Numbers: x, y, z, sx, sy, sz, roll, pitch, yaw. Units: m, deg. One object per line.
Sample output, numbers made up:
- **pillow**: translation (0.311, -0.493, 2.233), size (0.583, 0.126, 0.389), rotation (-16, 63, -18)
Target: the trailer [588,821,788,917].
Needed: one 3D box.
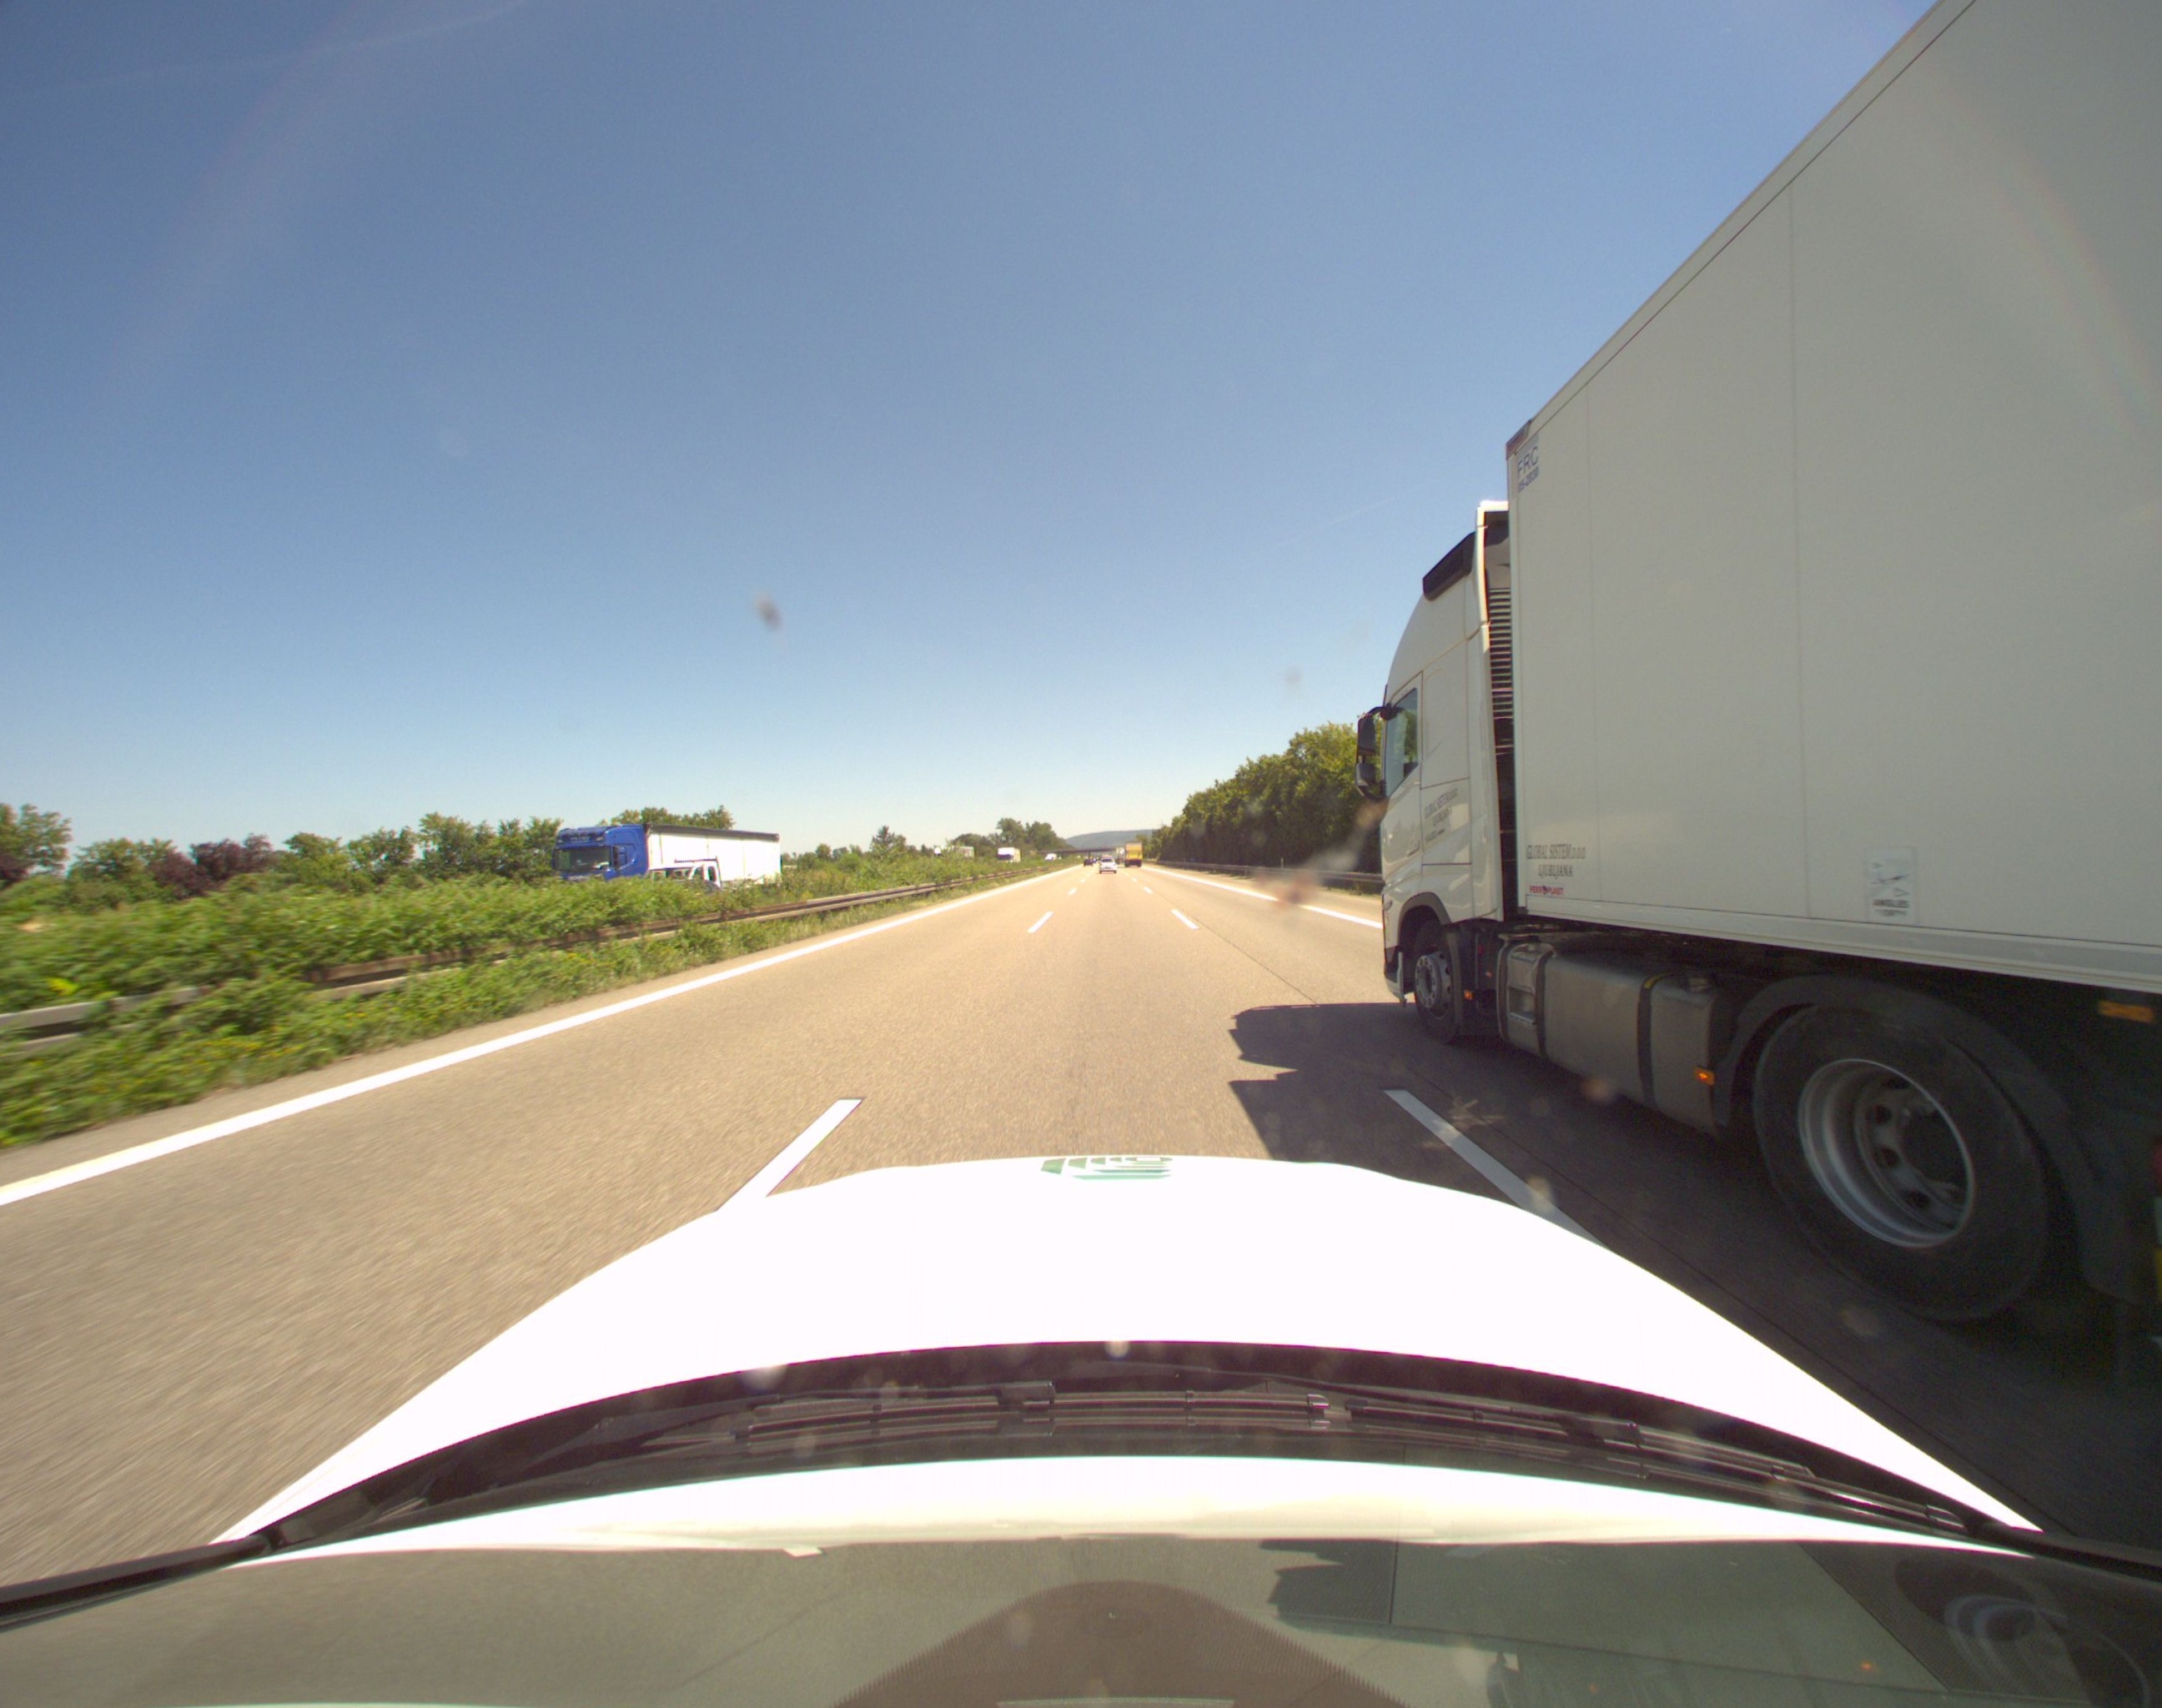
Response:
- **trailer**: translation (-19.199, 0.712, 41.596), size (3.047, 4.058, 13.961), rotation (0, 0, 2)

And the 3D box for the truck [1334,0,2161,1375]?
- **truck**: translation (3.827, -0.583, 5.411), size (2.461, 4.062, 6.322), rotation (0, -1, 2)

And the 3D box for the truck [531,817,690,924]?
- **truck**: translation (-19.440, 0.654, 34.134), size (3.047, 4.058, 5.920), rotation (0, -1, 2)

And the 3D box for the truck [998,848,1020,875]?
- **truck**: translation (-12.262, 1.337, 139.276), size (2.811, 4.526, 6.541), rotation (0, -1, 2)

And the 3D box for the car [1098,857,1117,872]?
- **car**: translation (2.643, 1.019, 80.350), size (1.800, 1.468, 4.001), rotation (0, -1, 2)

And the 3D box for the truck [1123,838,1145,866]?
- **truck**: translation (8.316, -0.305, 128.308), size (2.923, 4.200, 10.684), rotation (0, -1, 1)

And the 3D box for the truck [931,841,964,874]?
- **truck**: translation (-16.995, 0.508, 104.250), size (2.940, 4.063, 6.541), rotation (0, -1, 2)

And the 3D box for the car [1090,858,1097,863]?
- **car**: translation (3.586, 1.948, 230.947), size (1.828, 1.386, 4.001), rotation (0, -1, 2)

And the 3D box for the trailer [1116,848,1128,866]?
- **trailer**: translation (9.436, 0.655, 188.712), size (2.571, 4.074, 11.105), rotation (0, -1, 1)

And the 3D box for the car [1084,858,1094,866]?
- **car**: translation (1.520, 1.518, 155.274), size (1.828, 1.386, 4.001), rotation (0, -1, 2)

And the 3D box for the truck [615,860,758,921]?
- **truck**: translation (-15.216, 1.313, 32.031), size (2.239, 2.153, 6.575), rotation (0, 0, 2)
